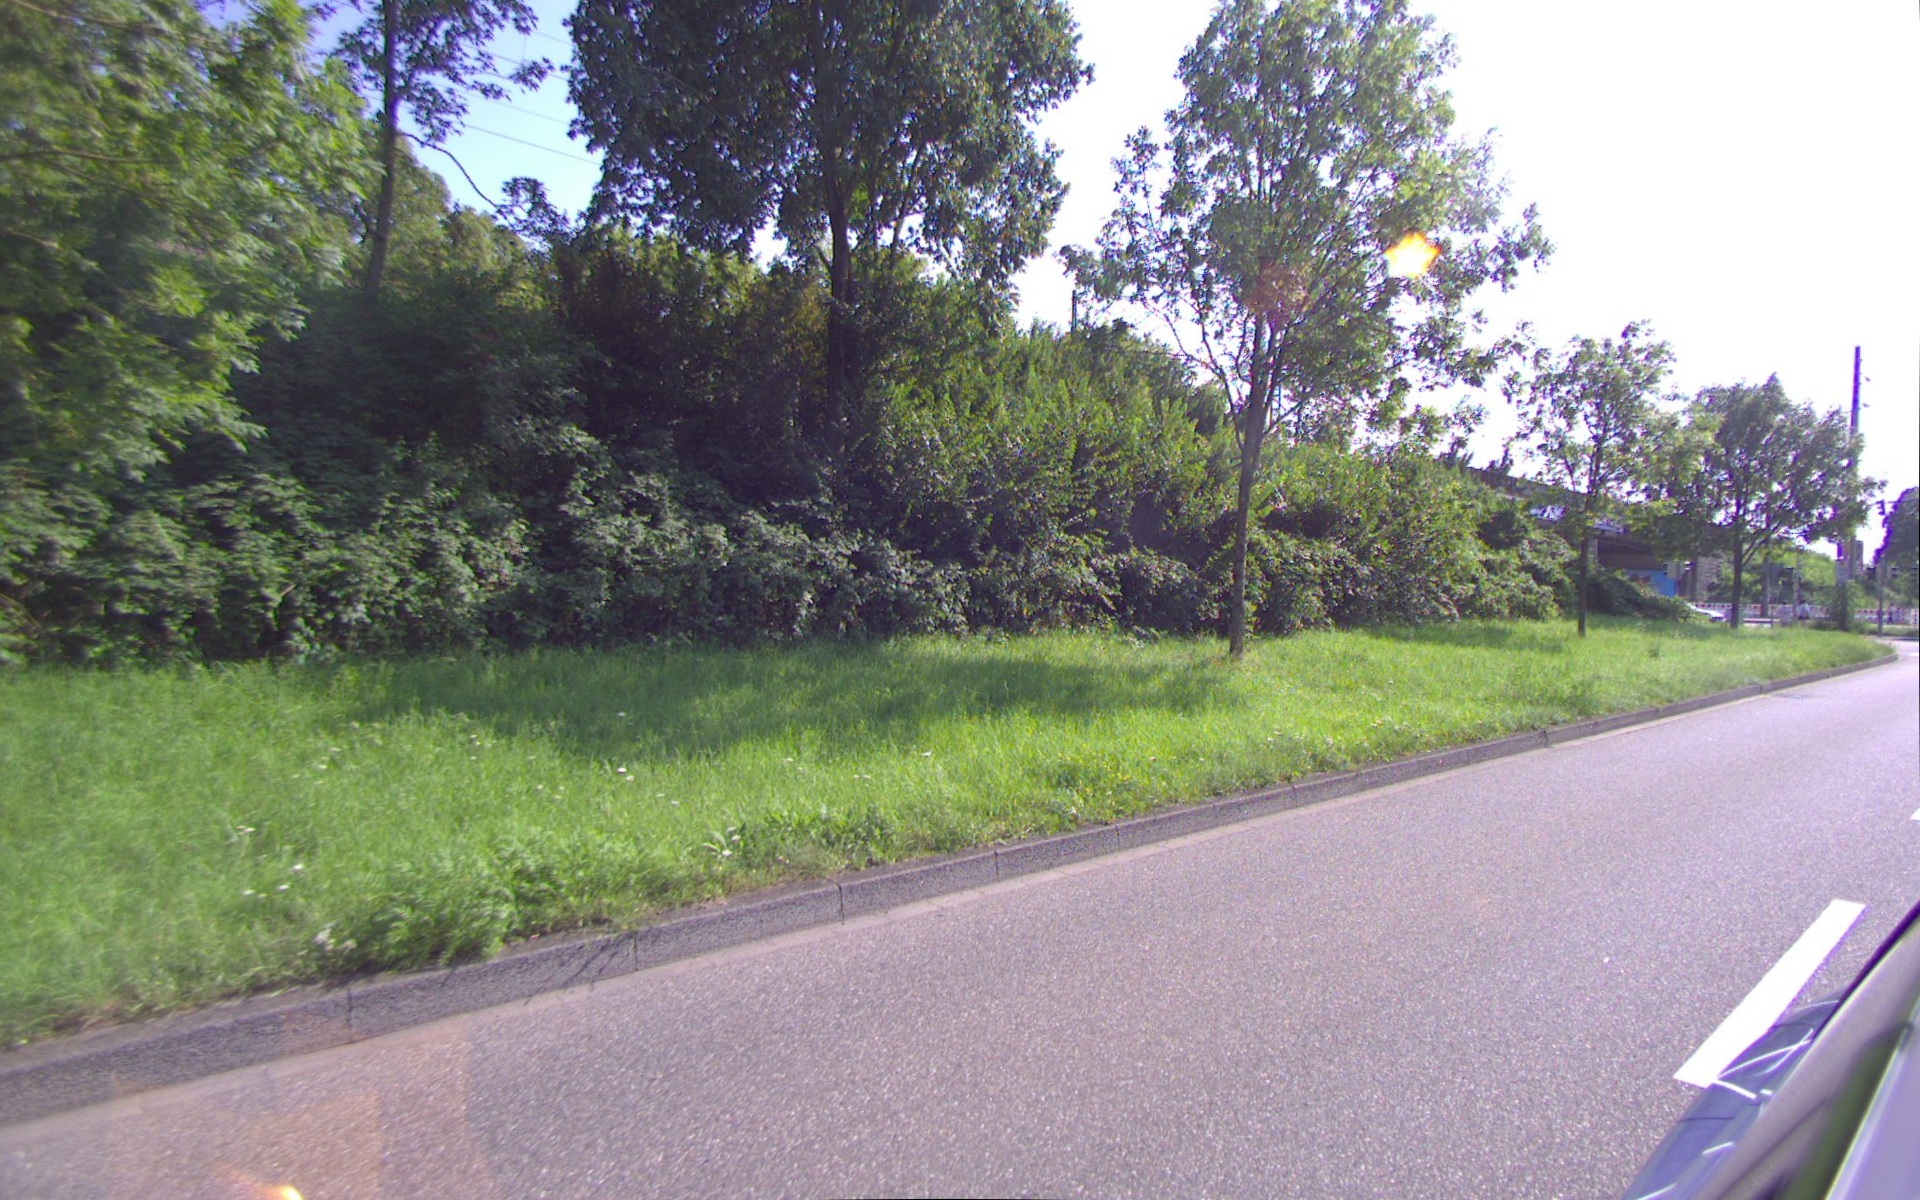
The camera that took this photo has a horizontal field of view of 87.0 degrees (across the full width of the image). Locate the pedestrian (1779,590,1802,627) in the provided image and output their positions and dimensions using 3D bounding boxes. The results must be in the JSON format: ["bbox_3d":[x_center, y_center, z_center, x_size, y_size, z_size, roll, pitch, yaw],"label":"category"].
[{"bbox_3d":[36.082,0.370,43.985,0.563,1.587,0.535,1,1,9],"label":"pedestrian"}]

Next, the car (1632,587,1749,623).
[{"bbox_3d":[34.634,0.209,48.115,1.831,1.552,4.204,1,2,-20],"label":"car"}]

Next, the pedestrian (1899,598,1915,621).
[{"bbox_3d":[67.514,0.690,72.166,0.624,1.594,0.489,1,0,8],"label":"pedestrian"}]

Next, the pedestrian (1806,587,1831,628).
[{"bbox_3d":[36.405,0.326,42.923,0.482,1.703,0.572,1,1,-8],"label":"pedestrian"}]
